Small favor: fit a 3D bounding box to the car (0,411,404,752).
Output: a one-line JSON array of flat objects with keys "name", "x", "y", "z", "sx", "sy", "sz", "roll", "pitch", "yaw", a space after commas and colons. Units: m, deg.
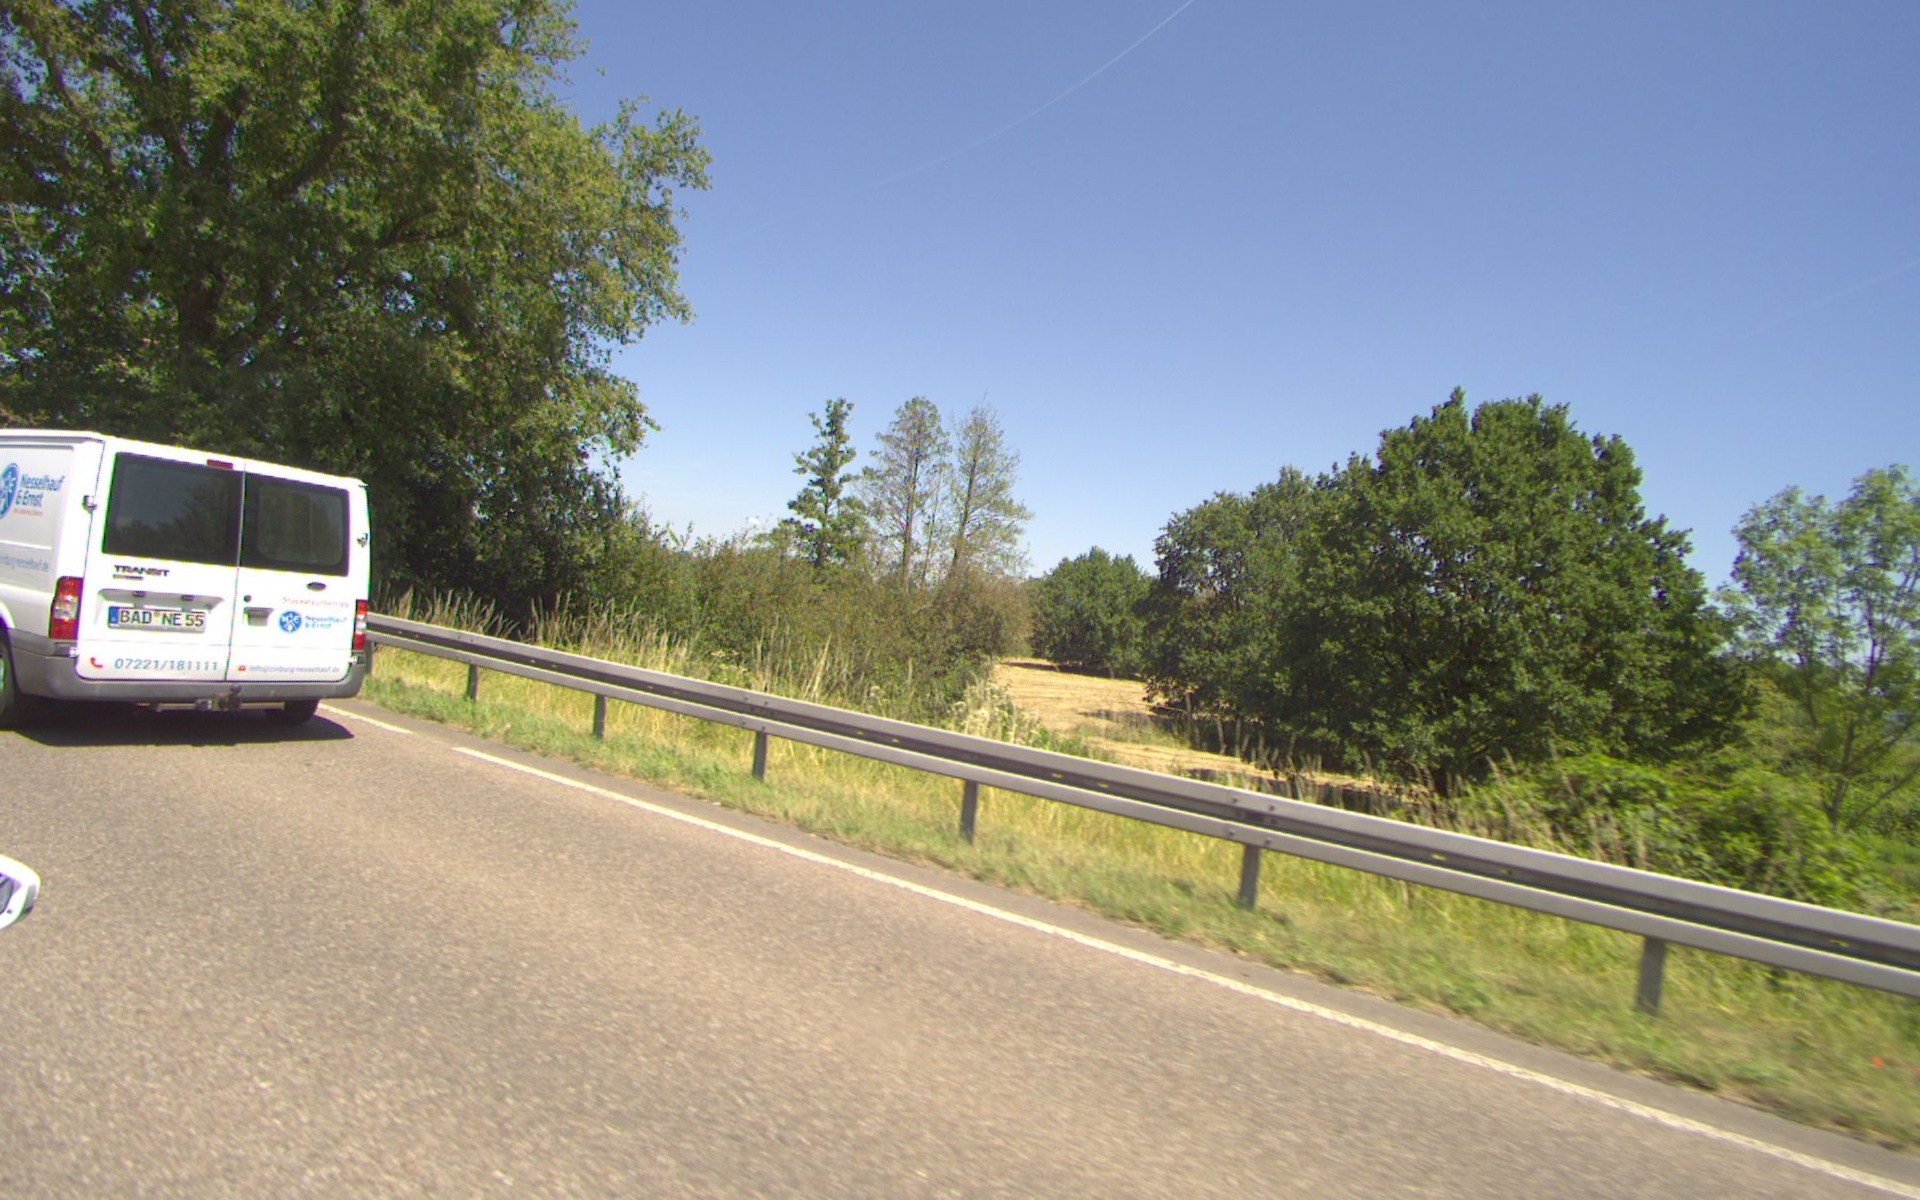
[{"name": "car", "x": -6.935, "y": -0.275, "z": 8.026, "sx": 4.949, "sy": 2.014, "sz": 2.008, "roll": 6, "pitch": 1, "yaw": 30}]
